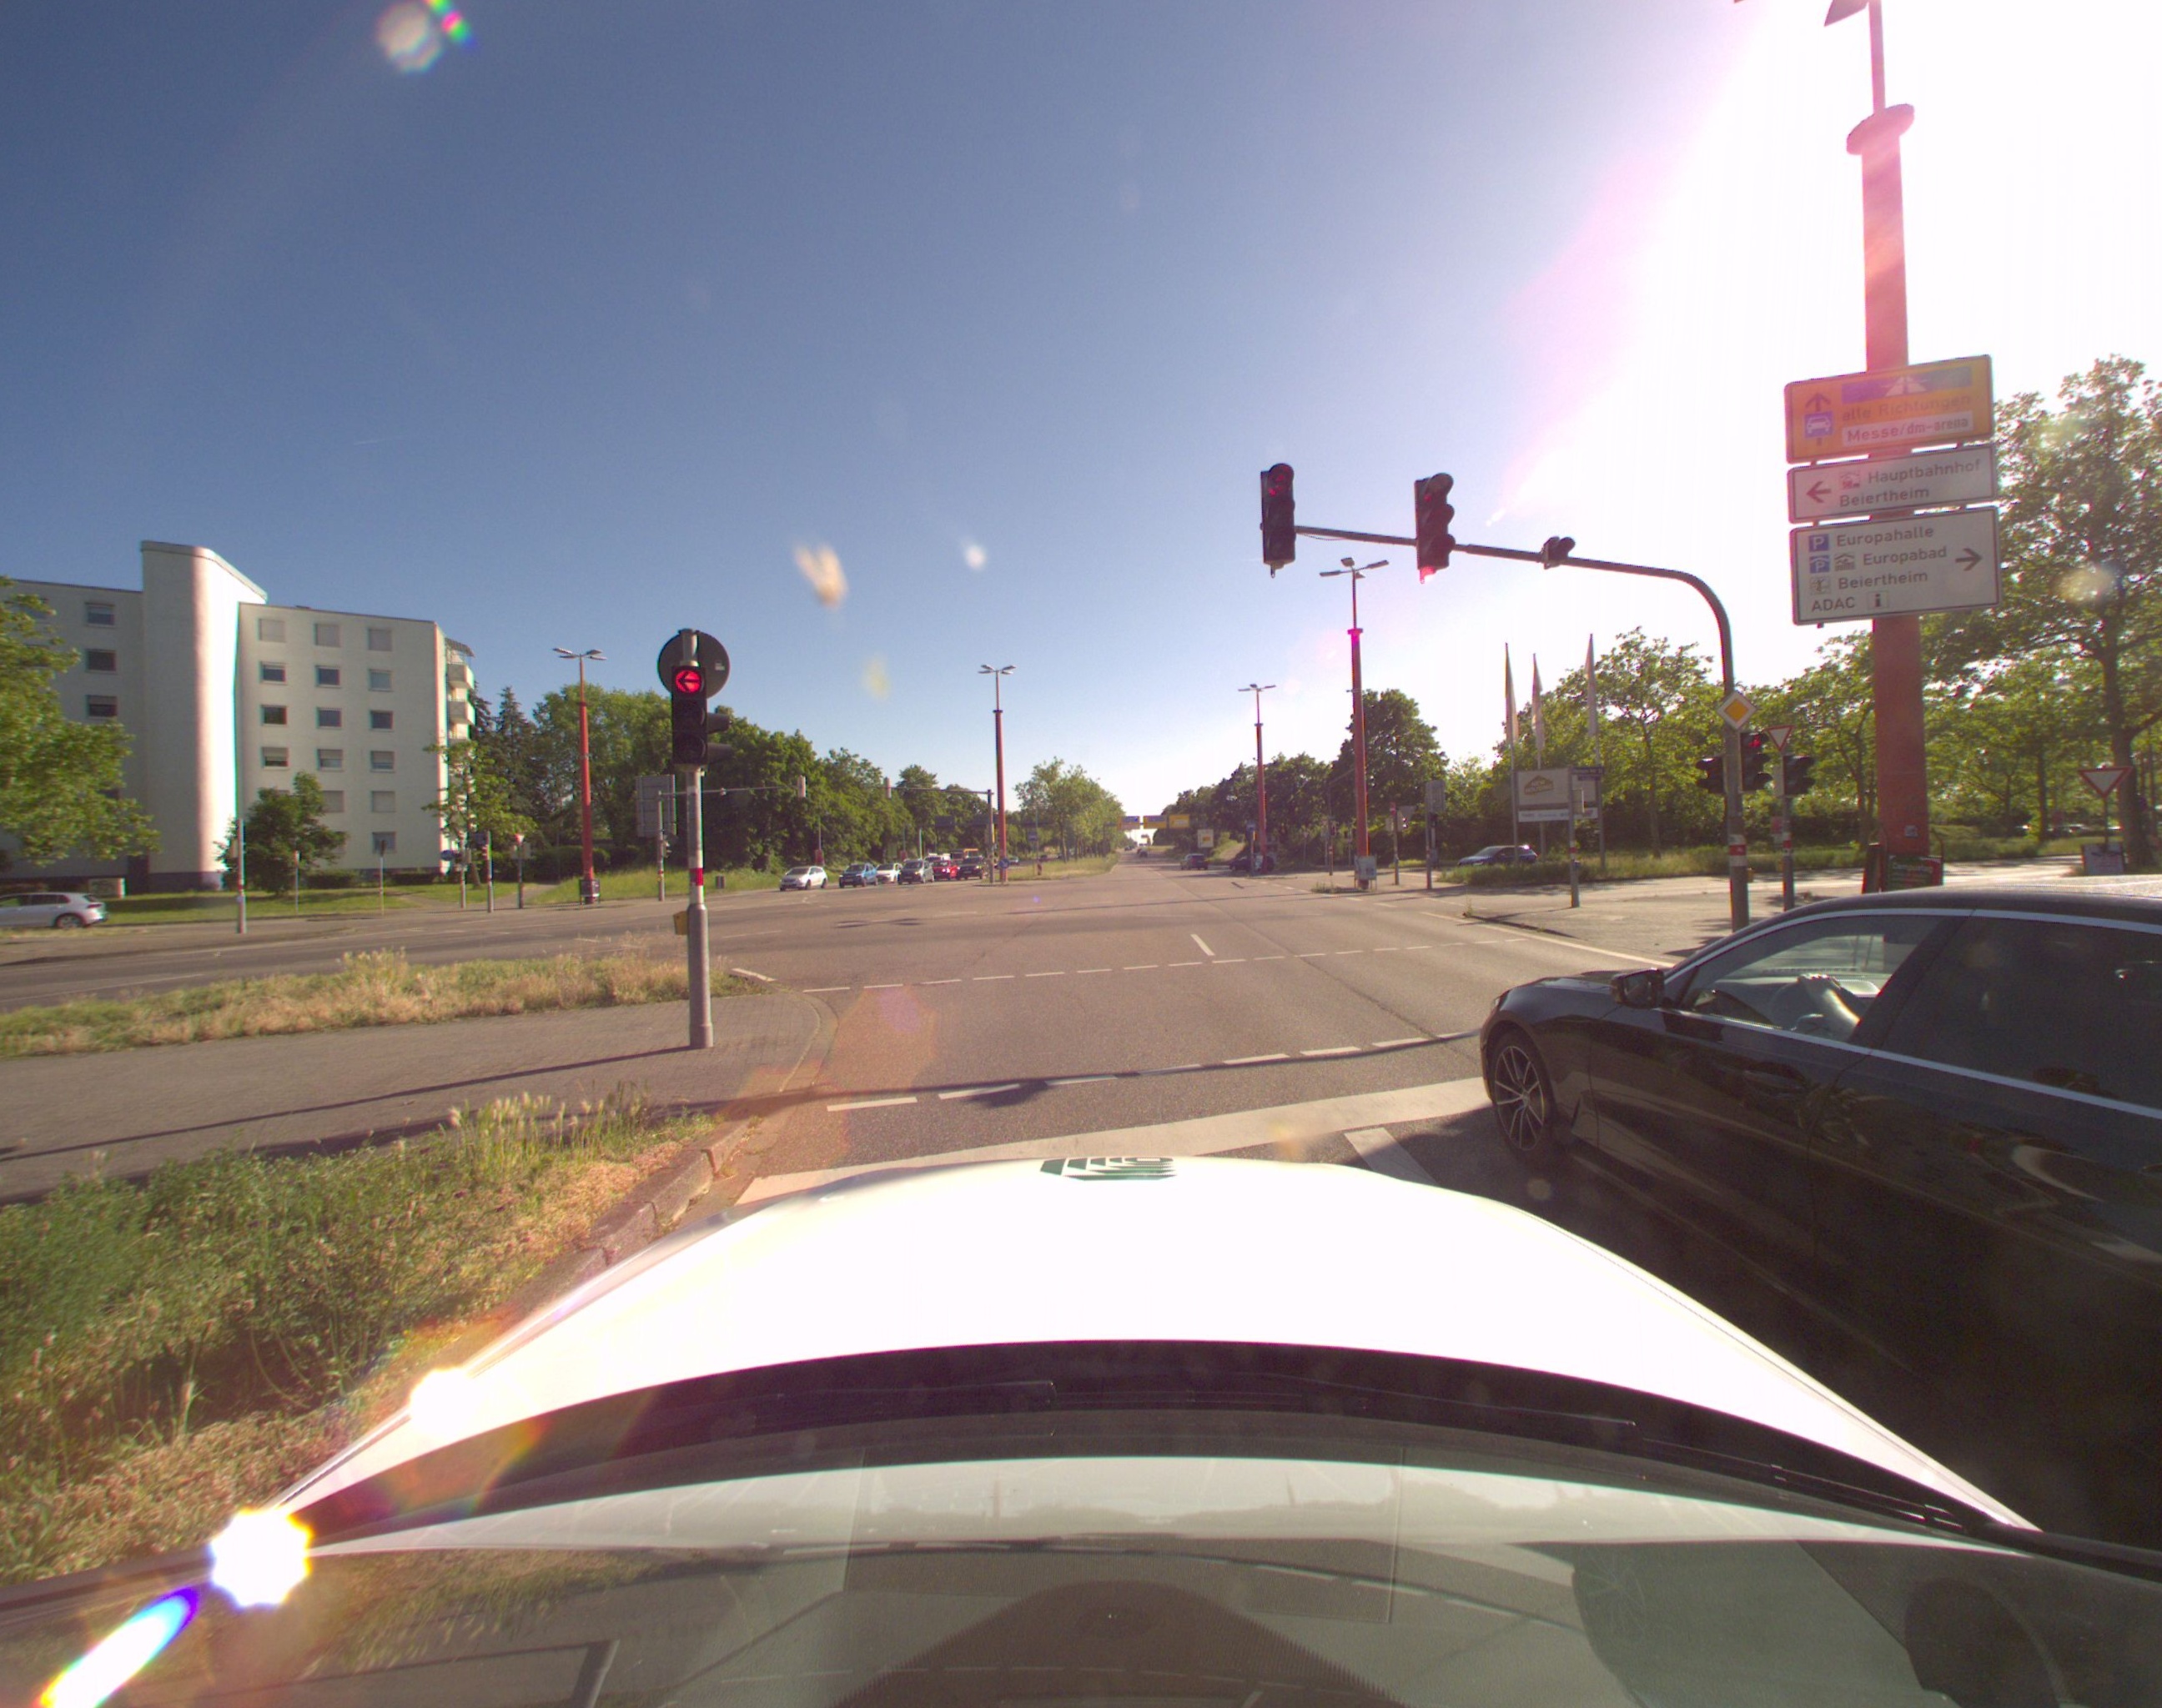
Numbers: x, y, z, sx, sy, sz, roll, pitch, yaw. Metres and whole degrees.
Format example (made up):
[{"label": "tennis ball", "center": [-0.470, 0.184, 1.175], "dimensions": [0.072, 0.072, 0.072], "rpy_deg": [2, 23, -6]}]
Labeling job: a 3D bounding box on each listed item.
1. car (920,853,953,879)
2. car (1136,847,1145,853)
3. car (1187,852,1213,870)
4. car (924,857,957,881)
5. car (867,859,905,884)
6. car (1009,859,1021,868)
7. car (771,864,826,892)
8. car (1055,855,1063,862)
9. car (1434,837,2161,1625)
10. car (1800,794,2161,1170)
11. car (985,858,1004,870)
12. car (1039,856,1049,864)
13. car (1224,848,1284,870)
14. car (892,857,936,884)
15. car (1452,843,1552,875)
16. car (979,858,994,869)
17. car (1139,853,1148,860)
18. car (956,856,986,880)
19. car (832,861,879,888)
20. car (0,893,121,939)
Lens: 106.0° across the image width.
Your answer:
[{"label": "car", "center": [-12.730, 1.047, 71.998], "dimensions": [2.055, 2.193, 4.377], "rpy_deg": [-2, 0, 0]}, {"label": "car", "center": [17.024, -1.049, 233.729], "dimensions": [2.153, 1.573, 4.277], "rpy_deg": [-2, 0, -2]}, {"label": "car", "center": [11.174, 0.606, 76.597], "dimensions": [2.148, 1.573, 4.590], "rpy_deg": [-2, 0, 5]}, {"label": "car", "center": [-10.099, 1.041, 58.883], "dimensions": [1.991, 1.573, 4.112], "rpy_deg": [-2, 0, -6]}, {"label": "car", "center": [-13.735, 1.210, 57.535], "dimensions": [1.991, 1.573, 4.112], "rpy_deg": [-3, 0, -6]}, {"label": "car", "center": [-11.652, 1.707, 144.341], "dimensions": [1.872, 1.573, 3.943], "rpy_deg": [-2, 0, -2]}, {"label": "car", "center": [-17.690, 1.461, 51.192], "dimensions": [1.987, 1.573, 4.120], "rpy_deg": [-2, 0, 0]}, {"label": "car", "center": [-5.321, 1.087, 199.409], "dimensions": [1.892, 1.771, 3.849], "rpy_deg": [-2, 0, 0]}, {"label": "car", "center": [2.953, 0.664, 2.383], "dimensions": [1.986, 1.394, 4.479], "rpy_deg": [-2, 0, 2]}, {"label": "car", "center": [5.800, 0.559, 3.271], "dimensions": [1.959, 1.686, 4.479], "rpy_deg": [-1, 0, 2]}, {"label": "car", "center": [-11.034, 1.267, 104.268], "dimensions": [1.814, 1.454, 3.658], "rpy_deg": [-2, 0, 2]}, {"label": "car", "center": [-7.785, 1.188, 170.956], "dimensions": [1.872, 1.573, 4.117], "rpy_deg": [-2, 0, -2]}, {"label": "car", "center": [13.604, 0.425, 64.273], "dimensions": [2.176, 1.573, 4.233], "rpy_deg": [-2, 0, -37]}, {"label": "car", "center": [-10.729, 1.041, 52.591], "dimensions": [1.988, 1.573, 4.119], "rpy_deg": [-2, 0, -1]}, {"label": "car", "center": [20.808, 0.230, 40.284], "dimensions": [4.276, 1.428, 1.874], "rpy_deg": [-2, 0, -16]}, {"label": "car", "center": [-14.581, 1.481, 125.681], "dimensions": [1.872, 1.573, 4.117], "rpy_deg": [-2, 0, -2]}, {"label": "car", "center": [14.526, 0.624, 189.461], "dimensions": [2.149, 1.573, 4.285], "rpy_deg": [-2, 0, 4]}, {"label": "car", "center": [-7.562, 0.934, 56.501], "dimensions": [1.874, 1.573, 4.112], "rpy_deg": [-2, 0, -6]}, {"label": "car", "center": [-14.233, 1.279, 51.652], "dimensions": [1.989, 1.573, 4.116], "rpy_deg": [-2, 0, -3]}, {"label": "car", "center": [-38.359, 2.275, 29.622], "dimensions": [4.246, 1.452, 1.777], "rpy_deg": [-2, 0, -44]}]
